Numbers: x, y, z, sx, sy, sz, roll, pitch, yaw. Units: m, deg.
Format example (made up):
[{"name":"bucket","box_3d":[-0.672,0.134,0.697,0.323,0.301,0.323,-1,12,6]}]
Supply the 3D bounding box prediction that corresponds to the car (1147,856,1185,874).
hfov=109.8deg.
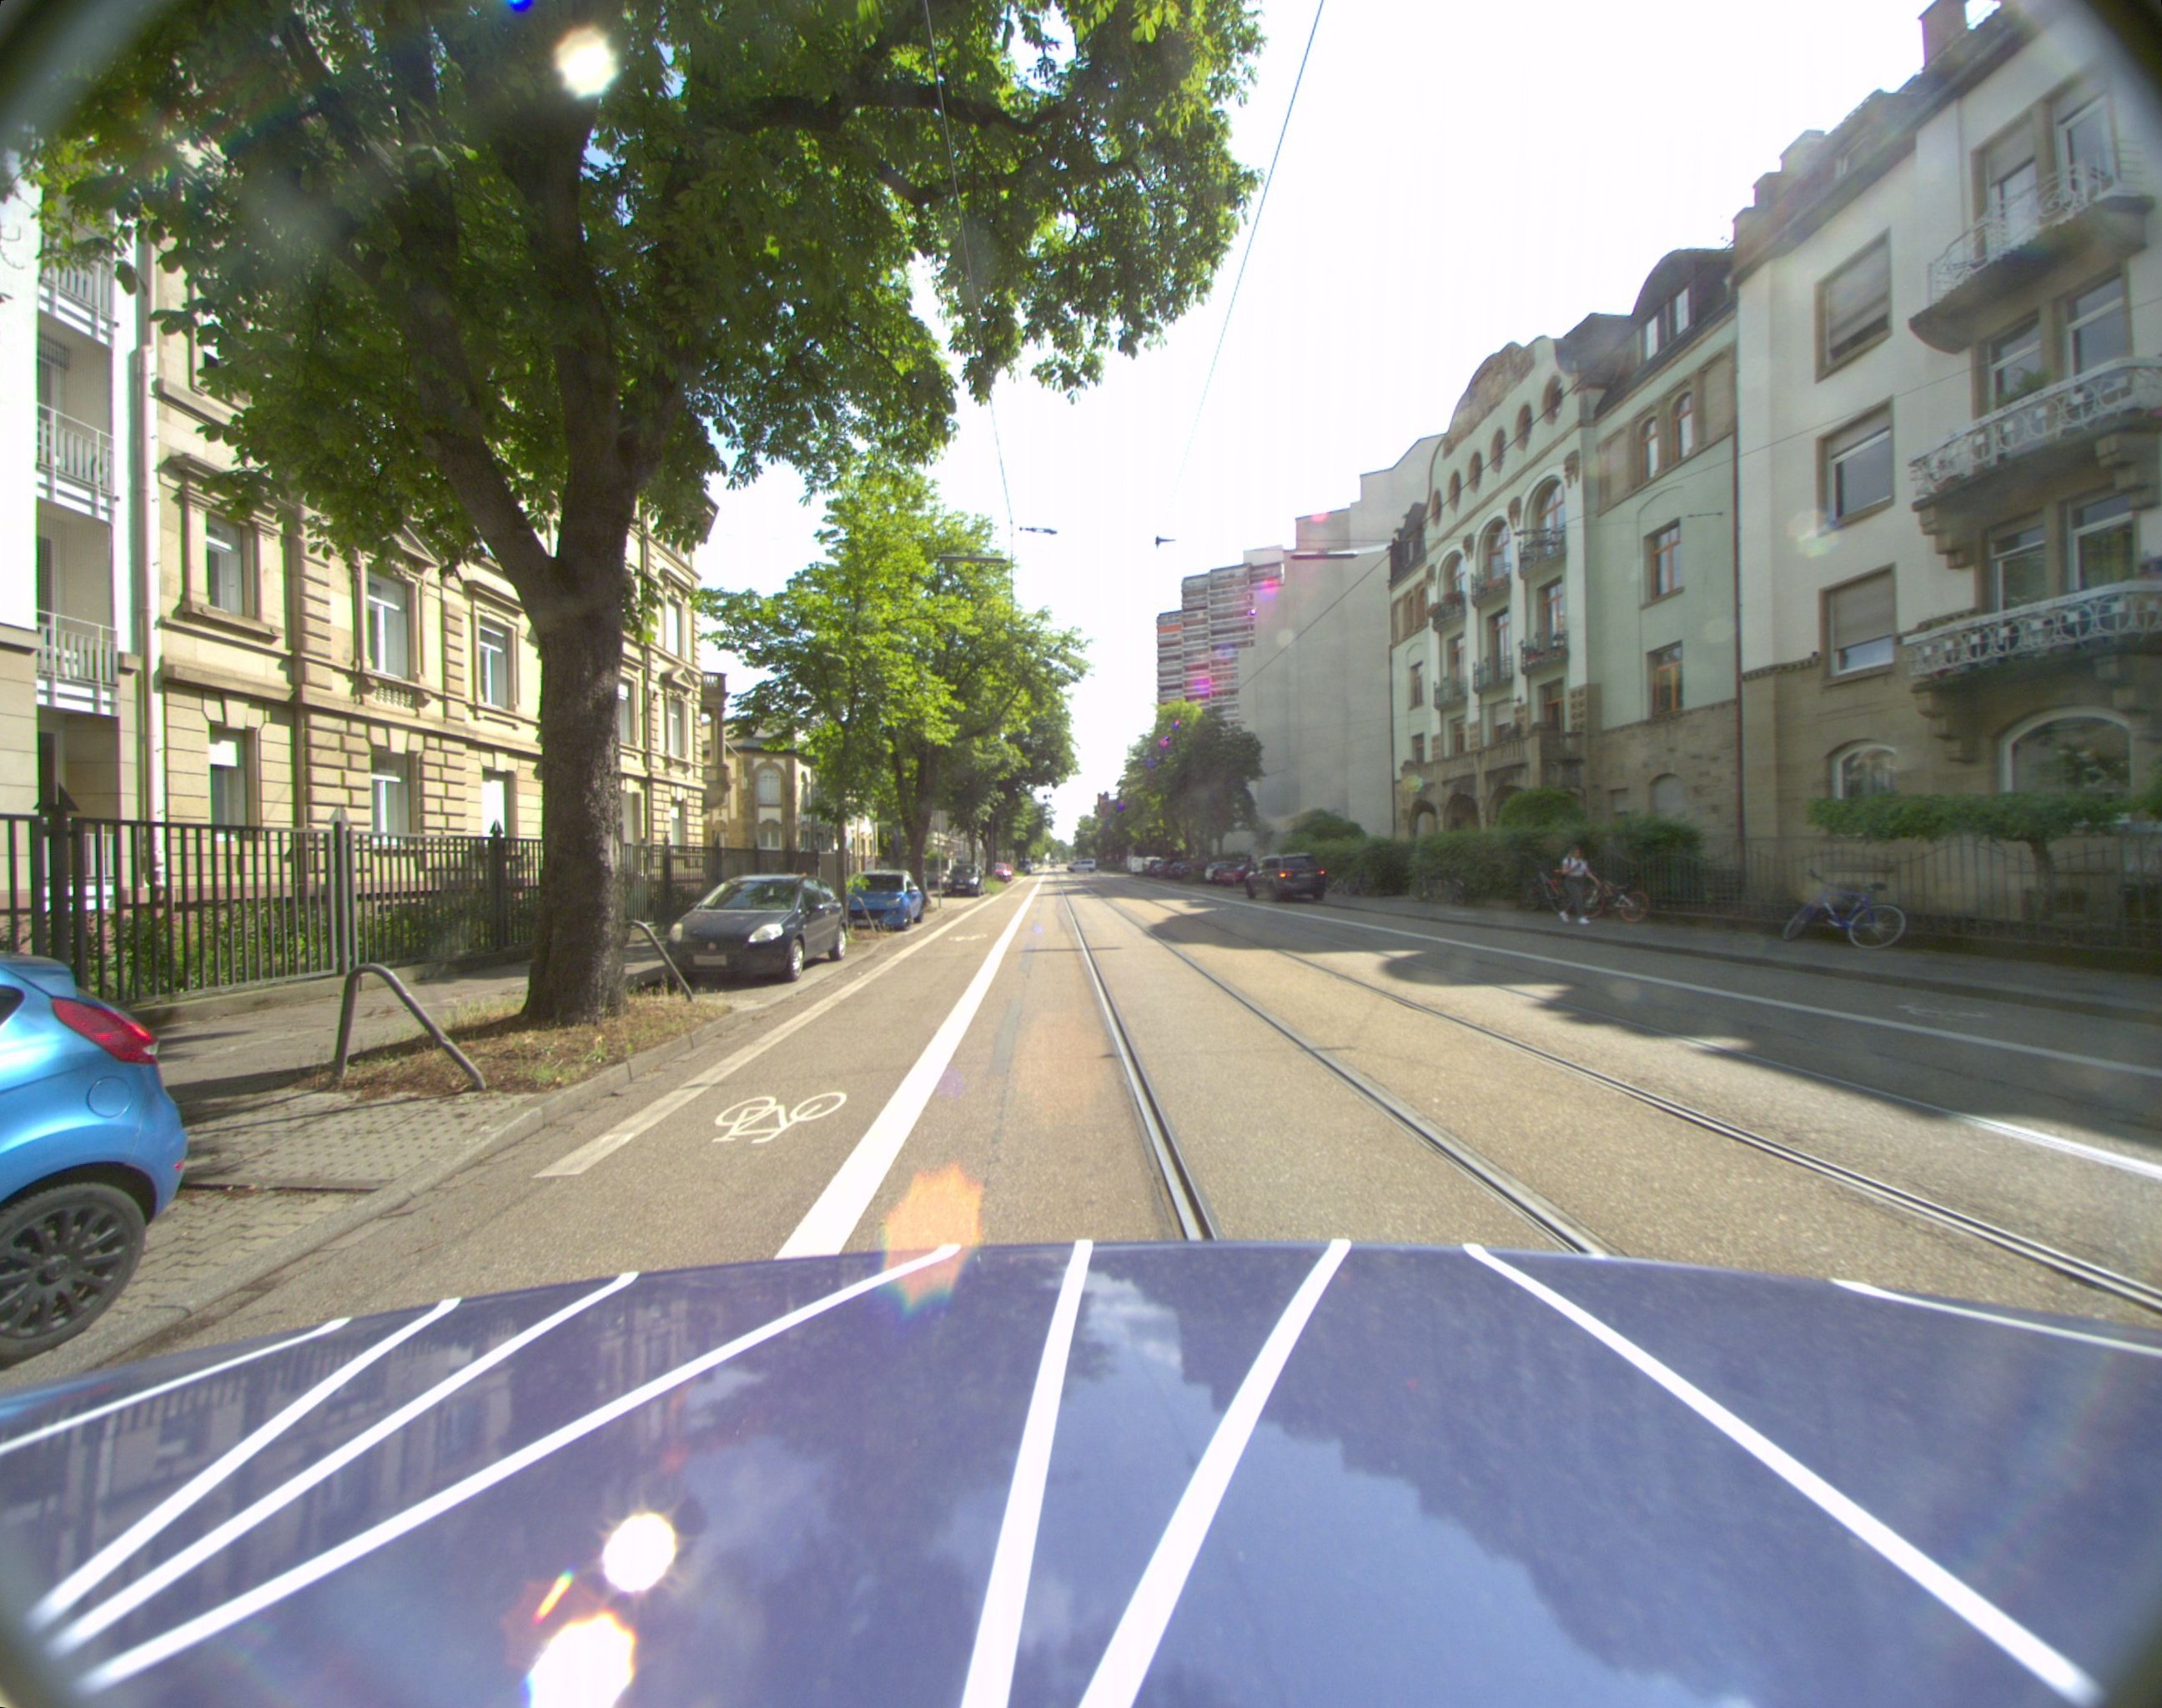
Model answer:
[{"name":"car","box_3d":[8.376,1.053,74.413,1.755,1.683,3.724,1,0,44]}]

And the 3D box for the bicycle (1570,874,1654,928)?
[{"name":"bicycle","box_3d":[10.714,0.918,15.394,0.384,0.970,1.801,-3,0,0]}]

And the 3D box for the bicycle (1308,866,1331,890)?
[{"name":"bicycle","box_3d":[10.211,1.014,32.597,0.384,0.953,1.810,-3,0,0]}]

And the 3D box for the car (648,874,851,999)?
[{"name":"car","box_3d":[-4.748,1.096,11.478,1.644,1.487,3.756,0,0,-4]}]

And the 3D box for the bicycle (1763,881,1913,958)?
[{"name":"bicycle","box_3d":[10.870,0.902,10.997,0.427,0.953,1.705,-3,0,0]}]

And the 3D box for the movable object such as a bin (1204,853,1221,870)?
[{"name":"movable object such as a bin","box_3d":[13.867,0.784,80.074,1.391,1.771,1.538,2,0,-6]}]

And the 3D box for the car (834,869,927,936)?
[{"name":"car","box_3d":[-5.038,1.175,19.544,1.644,1.487,3.625,0,0,-4]}]

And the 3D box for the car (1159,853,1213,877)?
[{"name":"car","box_3d":[9.002,0.927,64.862,1.911,1.942,5.180,1,0,42]}]

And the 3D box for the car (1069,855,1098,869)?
[{"name":"car","box_3d":[0.483,1.311,121.156,4.230,1.840,1.895,-4,1,11]}]

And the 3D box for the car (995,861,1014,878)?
[{"name":"car","box_3d":[-6.985,1.368,69.014,1.605,1.420,3.593,2,0,-7]}]

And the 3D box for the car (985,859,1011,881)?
[{"name":"car","box_3d":[-6.652,1.282,61.342,1.881,1.666,4.280,1,0,-4]}]

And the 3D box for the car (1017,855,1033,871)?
[{"name":"car","box_3d":[-9.126,1.445,124.845,2.338,2.545,5.388,-4,0,-3]}]

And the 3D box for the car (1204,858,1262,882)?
[{"name":"car","box_3d":[9.714,1.026,48.449,3.816,1.475,1.693,1,0,-42]}]

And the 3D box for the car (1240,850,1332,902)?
[{"name":"car","box_3d":[7.598,0.768,28.703,1.790,1.752,4.881,-1,0,-5]}]

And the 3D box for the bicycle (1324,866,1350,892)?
[{"name":"bicycle","box_3d":[10.265,0.995,30.506,0.384,0.953,1.810,-3,0,0]}]

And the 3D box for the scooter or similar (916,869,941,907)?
[{"name":"scooter or similar","box_3d":[-5.362,1.183,26.697,0.443,1.291,1.179,3,-2,-33]}]

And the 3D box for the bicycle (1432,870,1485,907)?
[{"name":"bicycle","box_3d":[10.534,0.944,21.252,0.452,0.953,1.800,-3,0,-3]}]

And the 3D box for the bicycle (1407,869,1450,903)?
[{"name":"bicycle","box_3d":[10.587,0.961,23.204,0.384,0.953,1.921,-3,0,0]}]

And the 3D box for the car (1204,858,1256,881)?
[{"name":"car","box_3d":[10.112,1.045,51.575,1.692,1.475,3.816,1,0,42]}]

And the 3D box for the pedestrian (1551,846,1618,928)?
[{"name":"pedestrian","box_3d":[10.095,0.649,15.265,0.681,1.559,0.882,-3,0,0]}]

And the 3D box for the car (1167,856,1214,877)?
[{"name":"car","box_3d":[8.904,1.022,61.612,1.736,1.583,4.009,1,0,43]}]

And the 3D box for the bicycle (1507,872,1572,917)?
[{"name":"bicycle","box_3d":[10.748,0.921,17.881,0.384,0.953,1.801,-3,0,0]}]

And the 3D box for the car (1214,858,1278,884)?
[{"name":"car","box_3d":[9.855,1.007,45.308,1.841,1.475,3.979,1,0,45]}]

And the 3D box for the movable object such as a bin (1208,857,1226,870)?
[{"name":"movable object such as a bin","box_3d":[13.980,0.972,78.329,1.391,1.356,1.538,2,0,-6]}]

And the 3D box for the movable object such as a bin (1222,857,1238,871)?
[{"name":"movable object such as a bin","box_3d":[14.041,0.950,71.695,1.171,1.276,1.441,2,0,-3]}]

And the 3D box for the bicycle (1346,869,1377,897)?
[{"name":"bicycle","box_3d":[10.341,1.052,28.089,0.384,0.953,1.921,-3,0,0]}]

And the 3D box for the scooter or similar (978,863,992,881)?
[{"name":"scooter or similar","box_3d":[-6.714,1.271,53.028,0.341,1.230,1.261,2,0,22]}]

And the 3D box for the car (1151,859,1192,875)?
[{"name":"car","box_3d":[8.467,1.208,71.050,1.755,1.409,4.009,1,0,42]}]

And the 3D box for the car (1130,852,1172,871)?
[{"name":"car","box_3d":[7.745,0.824,84.044,4.696,1.985,1.963,-1,0,-44]}]

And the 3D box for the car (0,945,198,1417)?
[{"name":"car","box_3d":[-4.325,1.103,1.124,1.628,1.487,3.847,1,0,-2]}]

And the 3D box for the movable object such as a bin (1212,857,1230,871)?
[{"name":"movable object such as a bin","box_3d":[14.109,0.999,76.678,1.391,1.356,1.538,2,0,-6]}]

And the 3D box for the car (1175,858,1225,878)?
[{"name":"car","box_3d":[9.236,1.063,58.578,4.009,1.475,1.736,1,0,-45]}]

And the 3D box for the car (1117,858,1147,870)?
[{"name":"car","box_3d":[6.575,1.276,97.853,1.737,1.514,3.893,-1,0,42]}]

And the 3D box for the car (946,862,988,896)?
[{"name":"car","box_3d":[-5.700,1.210,38.488,1.701,1.581,4.201,1,0,-3]}]
